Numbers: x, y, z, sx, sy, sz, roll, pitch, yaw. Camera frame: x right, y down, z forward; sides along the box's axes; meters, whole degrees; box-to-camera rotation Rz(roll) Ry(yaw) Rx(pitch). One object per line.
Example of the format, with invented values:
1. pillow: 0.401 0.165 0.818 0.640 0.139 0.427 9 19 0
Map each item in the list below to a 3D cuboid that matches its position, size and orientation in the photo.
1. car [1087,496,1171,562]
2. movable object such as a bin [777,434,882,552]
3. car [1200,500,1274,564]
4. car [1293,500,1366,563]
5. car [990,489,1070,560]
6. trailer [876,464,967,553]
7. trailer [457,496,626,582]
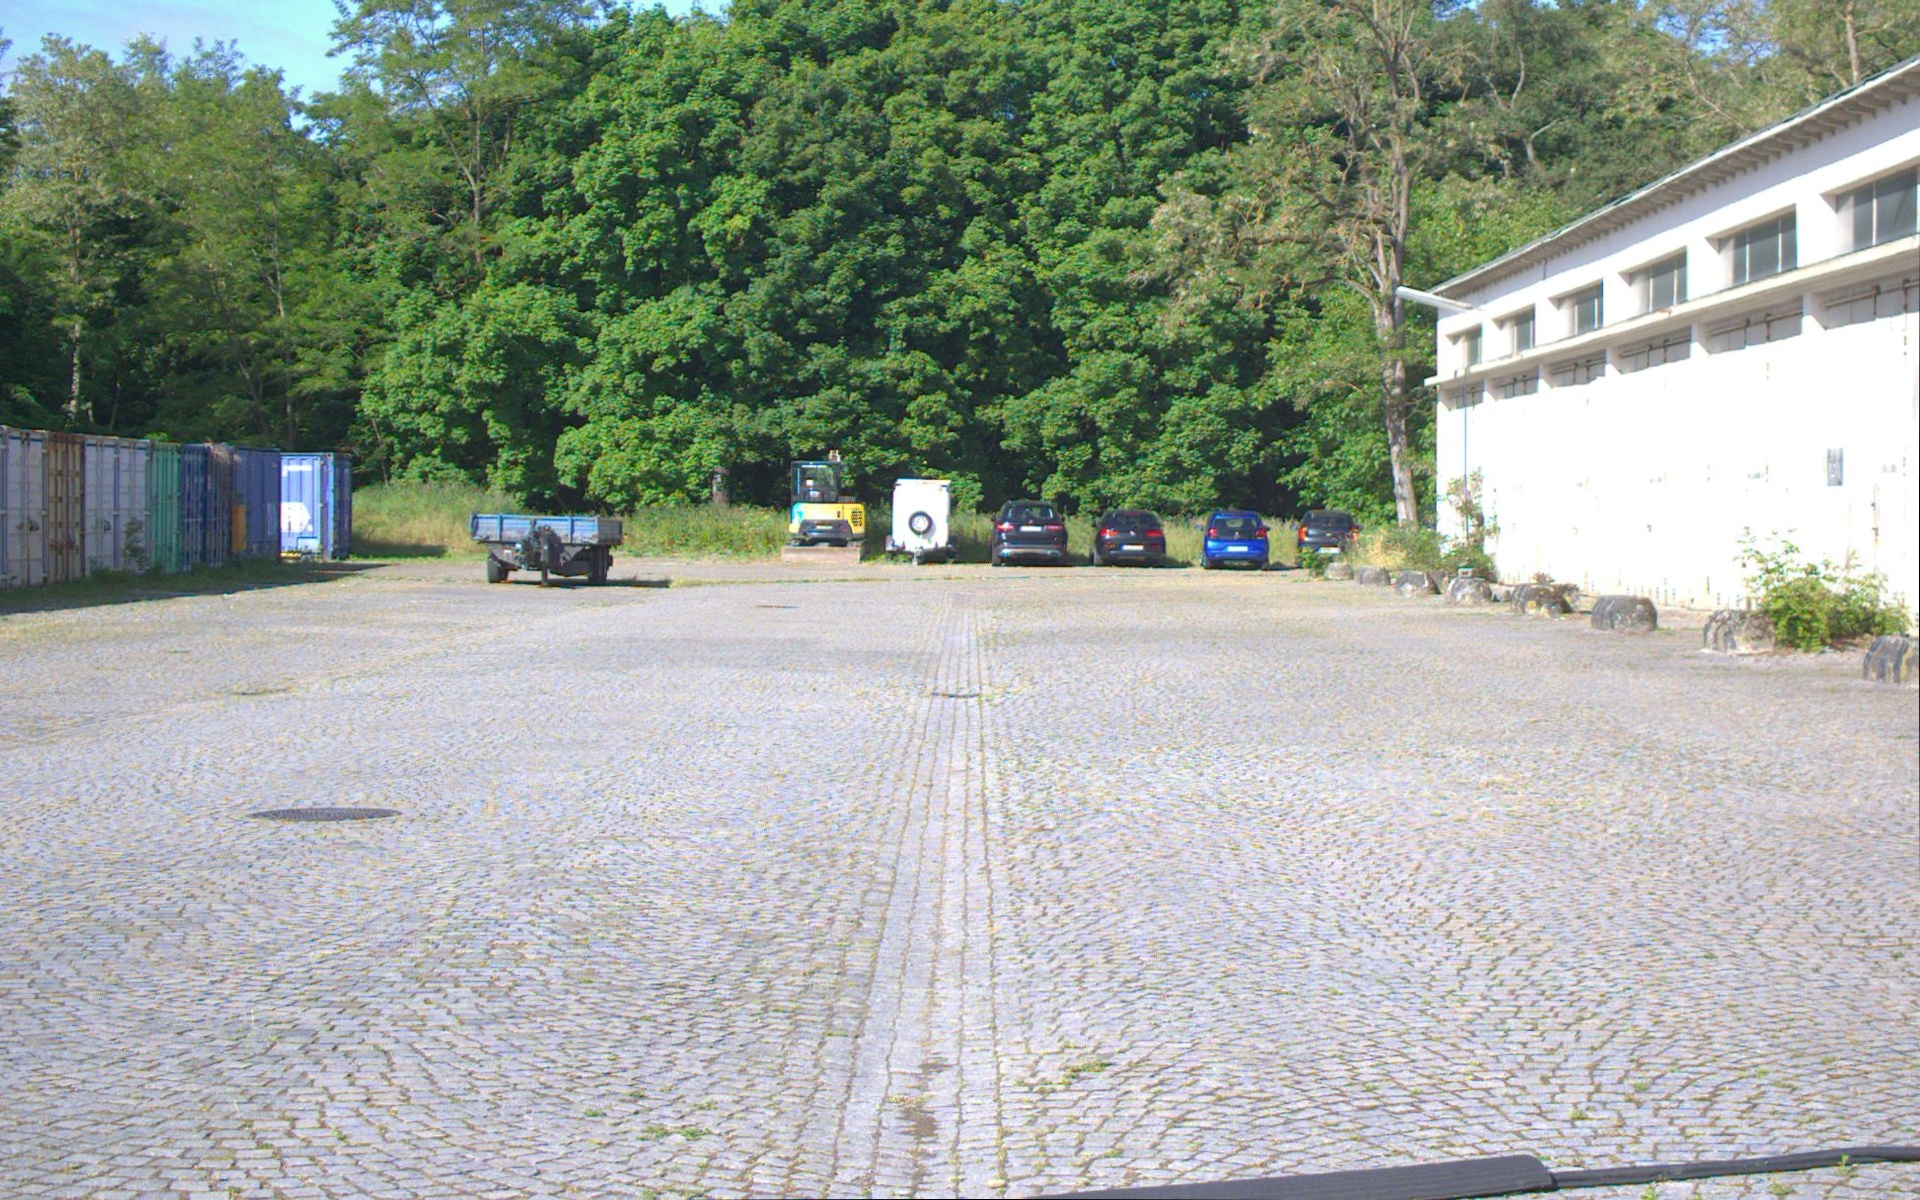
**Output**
1. car: 4.215 -1.801 86.357 1.863 1.465 4.296 2 3 0
2. movable object such as a bin: -3.341 -2.822 89.015 2.306 2.886 5.752 2 3 1
3. car: 6.982 -1.721 86.269 1.744 1.431 4.183 2 3 5
4. car: 9.441 -1.775 87.650 1.744 1.431 4.182 2 3 7
5. car: 1.725 -1.912 86.012 1.863 1.583 4.296 2 3 0
6. trailer: -0.968 -2.386 88.408 2.193 2.087 5.752 2 3 0
7. trailer: -8.253 -1.251 68.417 2.705 1.460 6.248 2 2 -1
